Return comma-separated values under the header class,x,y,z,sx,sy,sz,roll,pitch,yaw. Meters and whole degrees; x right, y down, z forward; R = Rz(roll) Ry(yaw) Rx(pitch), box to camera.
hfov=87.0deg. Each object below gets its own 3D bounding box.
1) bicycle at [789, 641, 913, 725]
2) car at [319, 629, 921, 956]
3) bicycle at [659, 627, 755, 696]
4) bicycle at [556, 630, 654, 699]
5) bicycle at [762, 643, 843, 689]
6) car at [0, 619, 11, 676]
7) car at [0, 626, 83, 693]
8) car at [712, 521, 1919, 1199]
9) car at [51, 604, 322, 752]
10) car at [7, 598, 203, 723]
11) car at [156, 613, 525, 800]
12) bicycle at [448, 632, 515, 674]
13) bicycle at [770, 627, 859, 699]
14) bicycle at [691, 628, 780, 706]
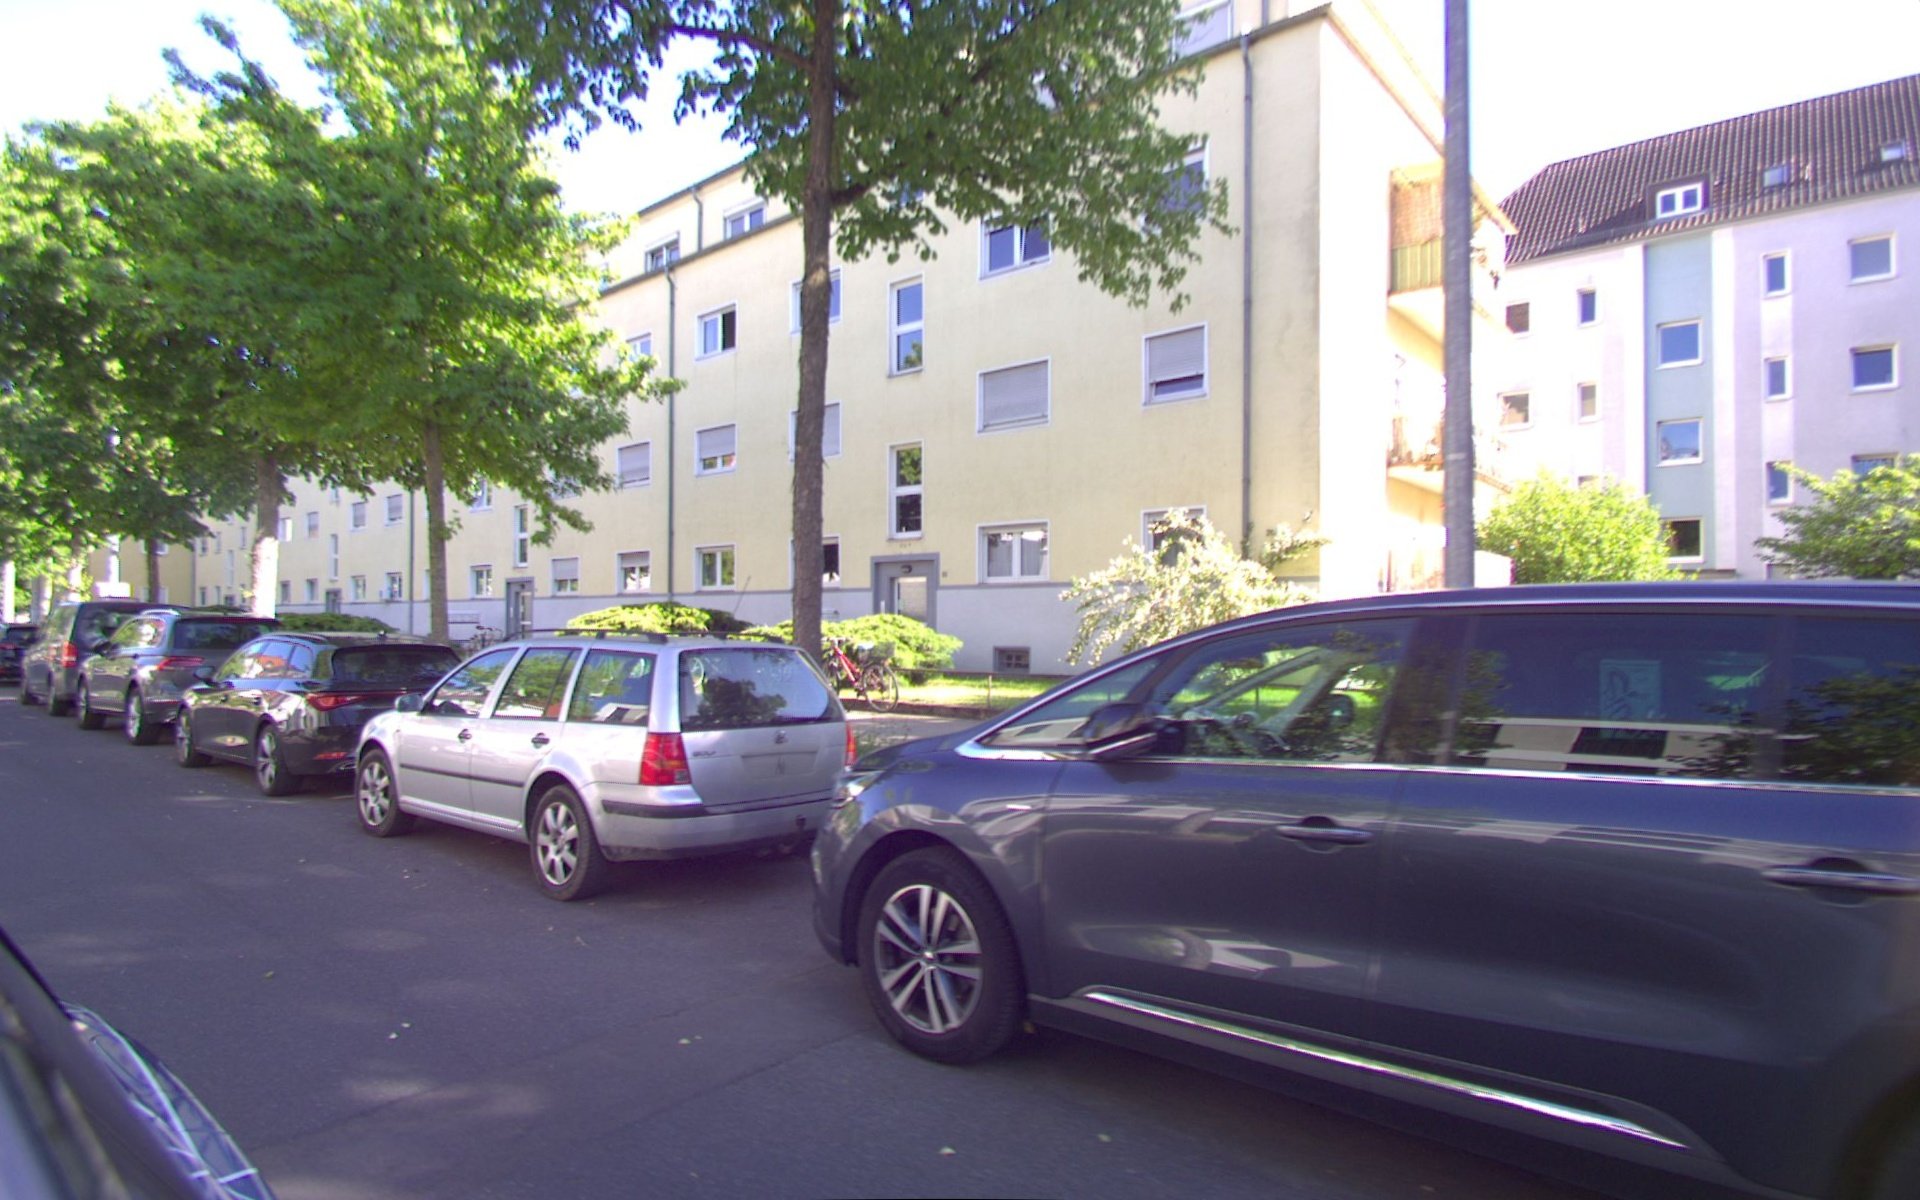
class,x,y,z,sx,sy,sz,roll,pitch,yaw
bicycle,-1.545,1.125,14.114,1.932,1.069,0.566,-1,-2,41
car,-2.493,0.960,6.770,4.485,1.492,1.689,-1,-3,39
bicycle,-4.807,1.139,19.321,0.517,1.235,1.802,-1,-2,41
bicycle,-6.524,1.152,18.531,2.259,1.199,0.589,-1,-3,39
bicycle,-3.240,1.338,20.929,0.585,0.876,1.691,-1,-1,41
car,-31.559,1.454,32.007,3.999,1.741,1.839,-1,-4,42
car,-22.648,1.398,24.311,4.061,1.482,1.757,-1,-5,41
car,1.494,0.739,3.283,5.083,1.669,1.823,-1,-3,40
car,-10.609,0.963,13.777,4.519,1.699,1.777,-1,-3,37
car,-14.726,0.976,17.336,4.863,1.864,1.775,-1,-3,41
car,-6.290,0.901,10.058,4.485,1.463,1.775,-1,-3,40
bicycle,-10.827,1.183,22.864,1.901,0.923,0.589,-1,-3,39
bicycle,-2.635,1.122,18.432,0.590,1.235,1.618,-1,-1,40
bicycle,-3.774,1.106,17.133,0.515,1.235,1.623,-1,-1,31
